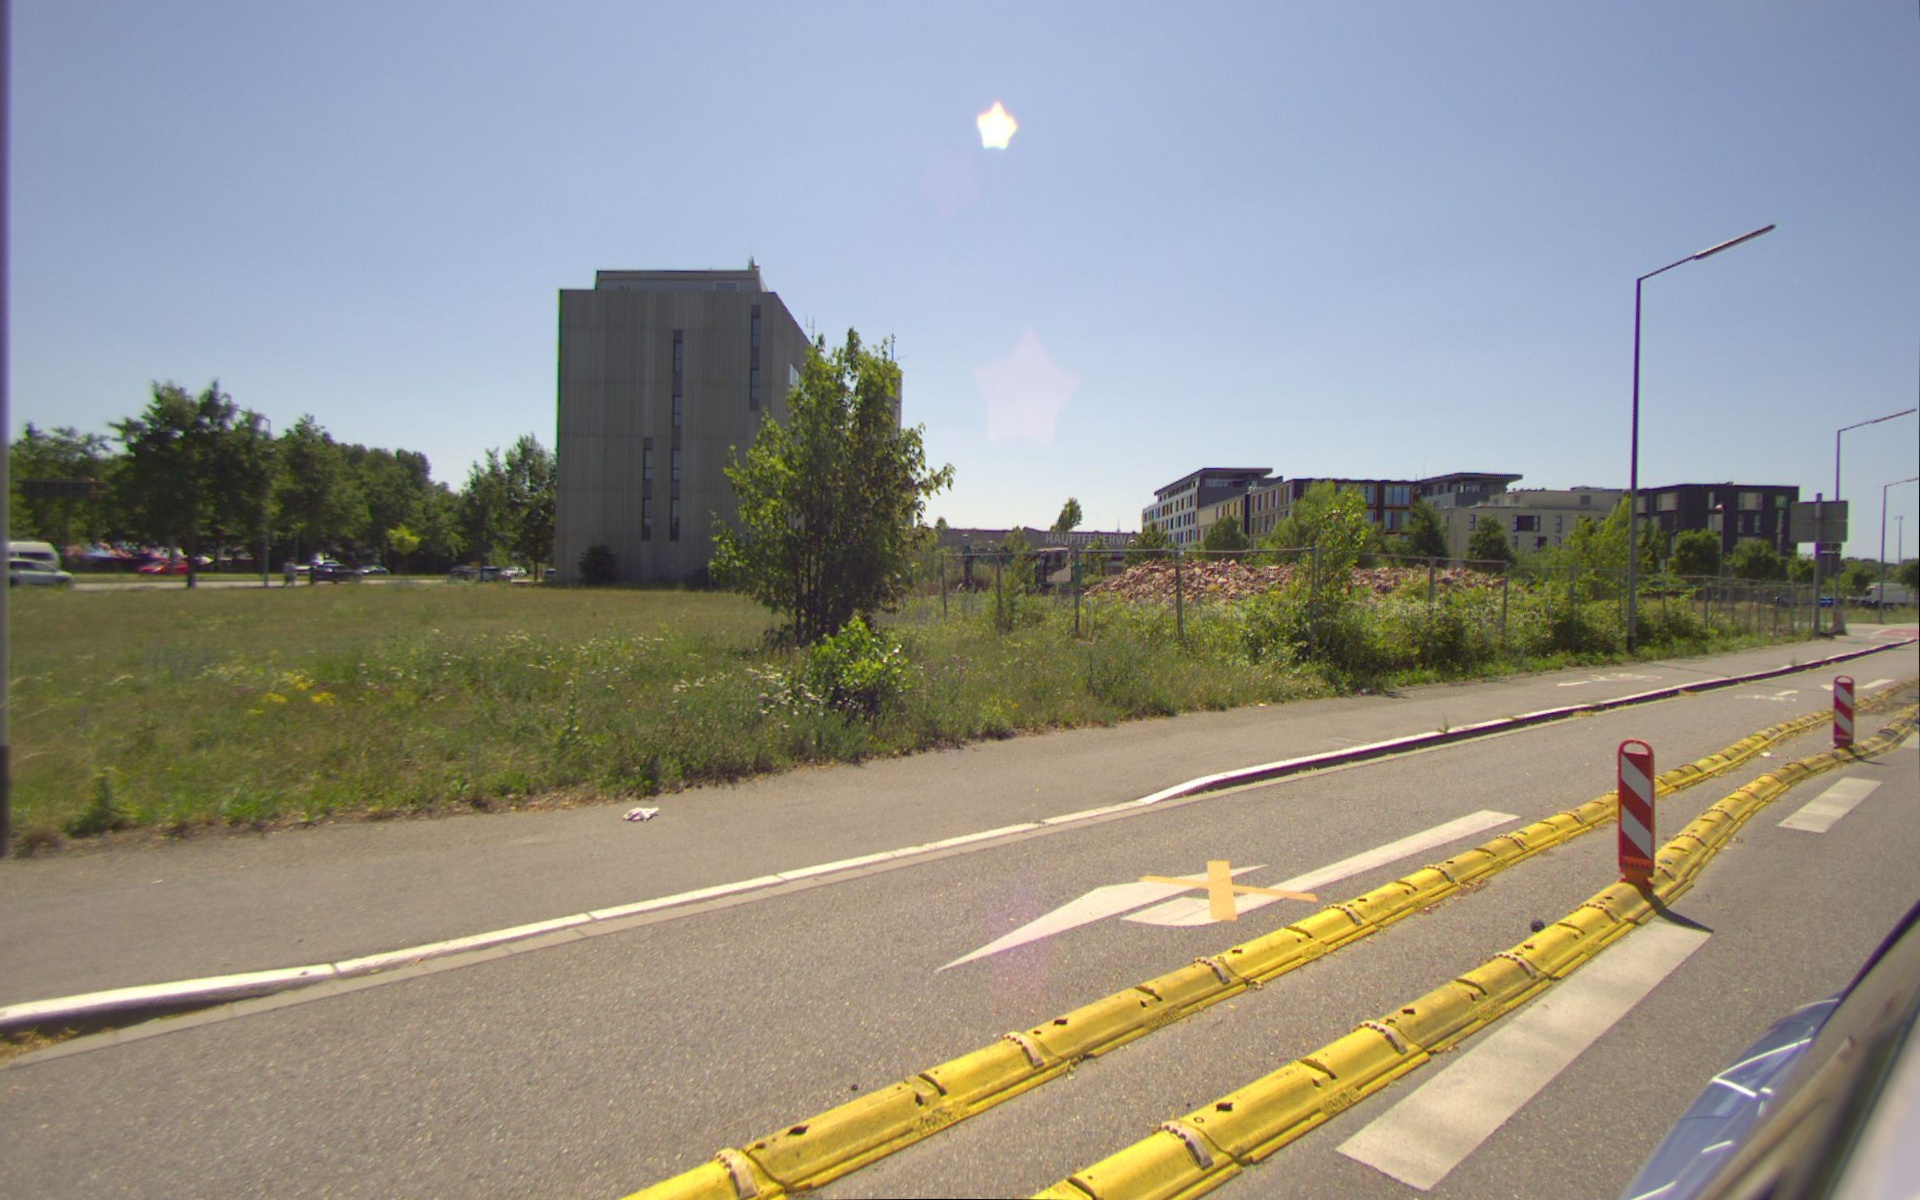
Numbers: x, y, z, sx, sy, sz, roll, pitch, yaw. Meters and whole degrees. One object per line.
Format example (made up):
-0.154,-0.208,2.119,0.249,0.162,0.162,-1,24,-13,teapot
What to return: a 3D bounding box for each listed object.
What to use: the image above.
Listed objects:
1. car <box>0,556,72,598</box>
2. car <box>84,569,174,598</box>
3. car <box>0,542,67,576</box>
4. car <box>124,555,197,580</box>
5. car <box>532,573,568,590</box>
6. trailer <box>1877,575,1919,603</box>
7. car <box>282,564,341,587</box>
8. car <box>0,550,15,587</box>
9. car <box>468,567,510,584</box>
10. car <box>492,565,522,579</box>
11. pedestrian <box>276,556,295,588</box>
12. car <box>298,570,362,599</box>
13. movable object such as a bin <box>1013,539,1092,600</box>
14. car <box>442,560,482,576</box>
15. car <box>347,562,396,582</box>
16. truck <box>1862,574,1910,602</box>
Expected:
-43.618,-1.044,46.477,1.962,1.838,4.264,0,1,0,car
-47.731,-0.942,58.210,1.806,1.605,3.998,0,1,3,car
-58.983,-2.521,63.124,1.963,2.039,5.083,0,1,2,car
-61.942,-2.508,78.481,1.963,1.873,4.603,0,1,2,car
-42.543,-1.937,105.143,1.961,1.727,4.942,0,1,-3,car
119.687,-1.348,126.412,8.030,3.390,1.998,1,1,4,trailer
-58.489,-2.198,91.358,1.963,2.039,5.083,0,1,2,car
-48.497,-1.545,48.794,1.962,1.838,4.264,0,1,0,car
-42.018,-2.194,90.376,1.604,1.462,4.015,0,1,6,car
-57.884,-3.532,129.377,1.964,1.738,3.996,0,1,4,car
-33.951,-1.418,50.961,0.489,1.583,0.737,0,0,-1,pedestrian
-45.145,-1.107,72.639,1.963,2.039,3.997,0,1,3,car
4.950,-1.592,53.976,3.619,3.101,2.207,0,1,-35,movable object such as a bin
-47.639,-3.073,96.909,1.961,1.425,4.001,0,1,-1,car
-60.667,-2.886,104.434,1.963,2.039,5.083,0,1,2,car
115.892,-1.468,126.710,3.928,3.377,1.998,1,1,4,truck
